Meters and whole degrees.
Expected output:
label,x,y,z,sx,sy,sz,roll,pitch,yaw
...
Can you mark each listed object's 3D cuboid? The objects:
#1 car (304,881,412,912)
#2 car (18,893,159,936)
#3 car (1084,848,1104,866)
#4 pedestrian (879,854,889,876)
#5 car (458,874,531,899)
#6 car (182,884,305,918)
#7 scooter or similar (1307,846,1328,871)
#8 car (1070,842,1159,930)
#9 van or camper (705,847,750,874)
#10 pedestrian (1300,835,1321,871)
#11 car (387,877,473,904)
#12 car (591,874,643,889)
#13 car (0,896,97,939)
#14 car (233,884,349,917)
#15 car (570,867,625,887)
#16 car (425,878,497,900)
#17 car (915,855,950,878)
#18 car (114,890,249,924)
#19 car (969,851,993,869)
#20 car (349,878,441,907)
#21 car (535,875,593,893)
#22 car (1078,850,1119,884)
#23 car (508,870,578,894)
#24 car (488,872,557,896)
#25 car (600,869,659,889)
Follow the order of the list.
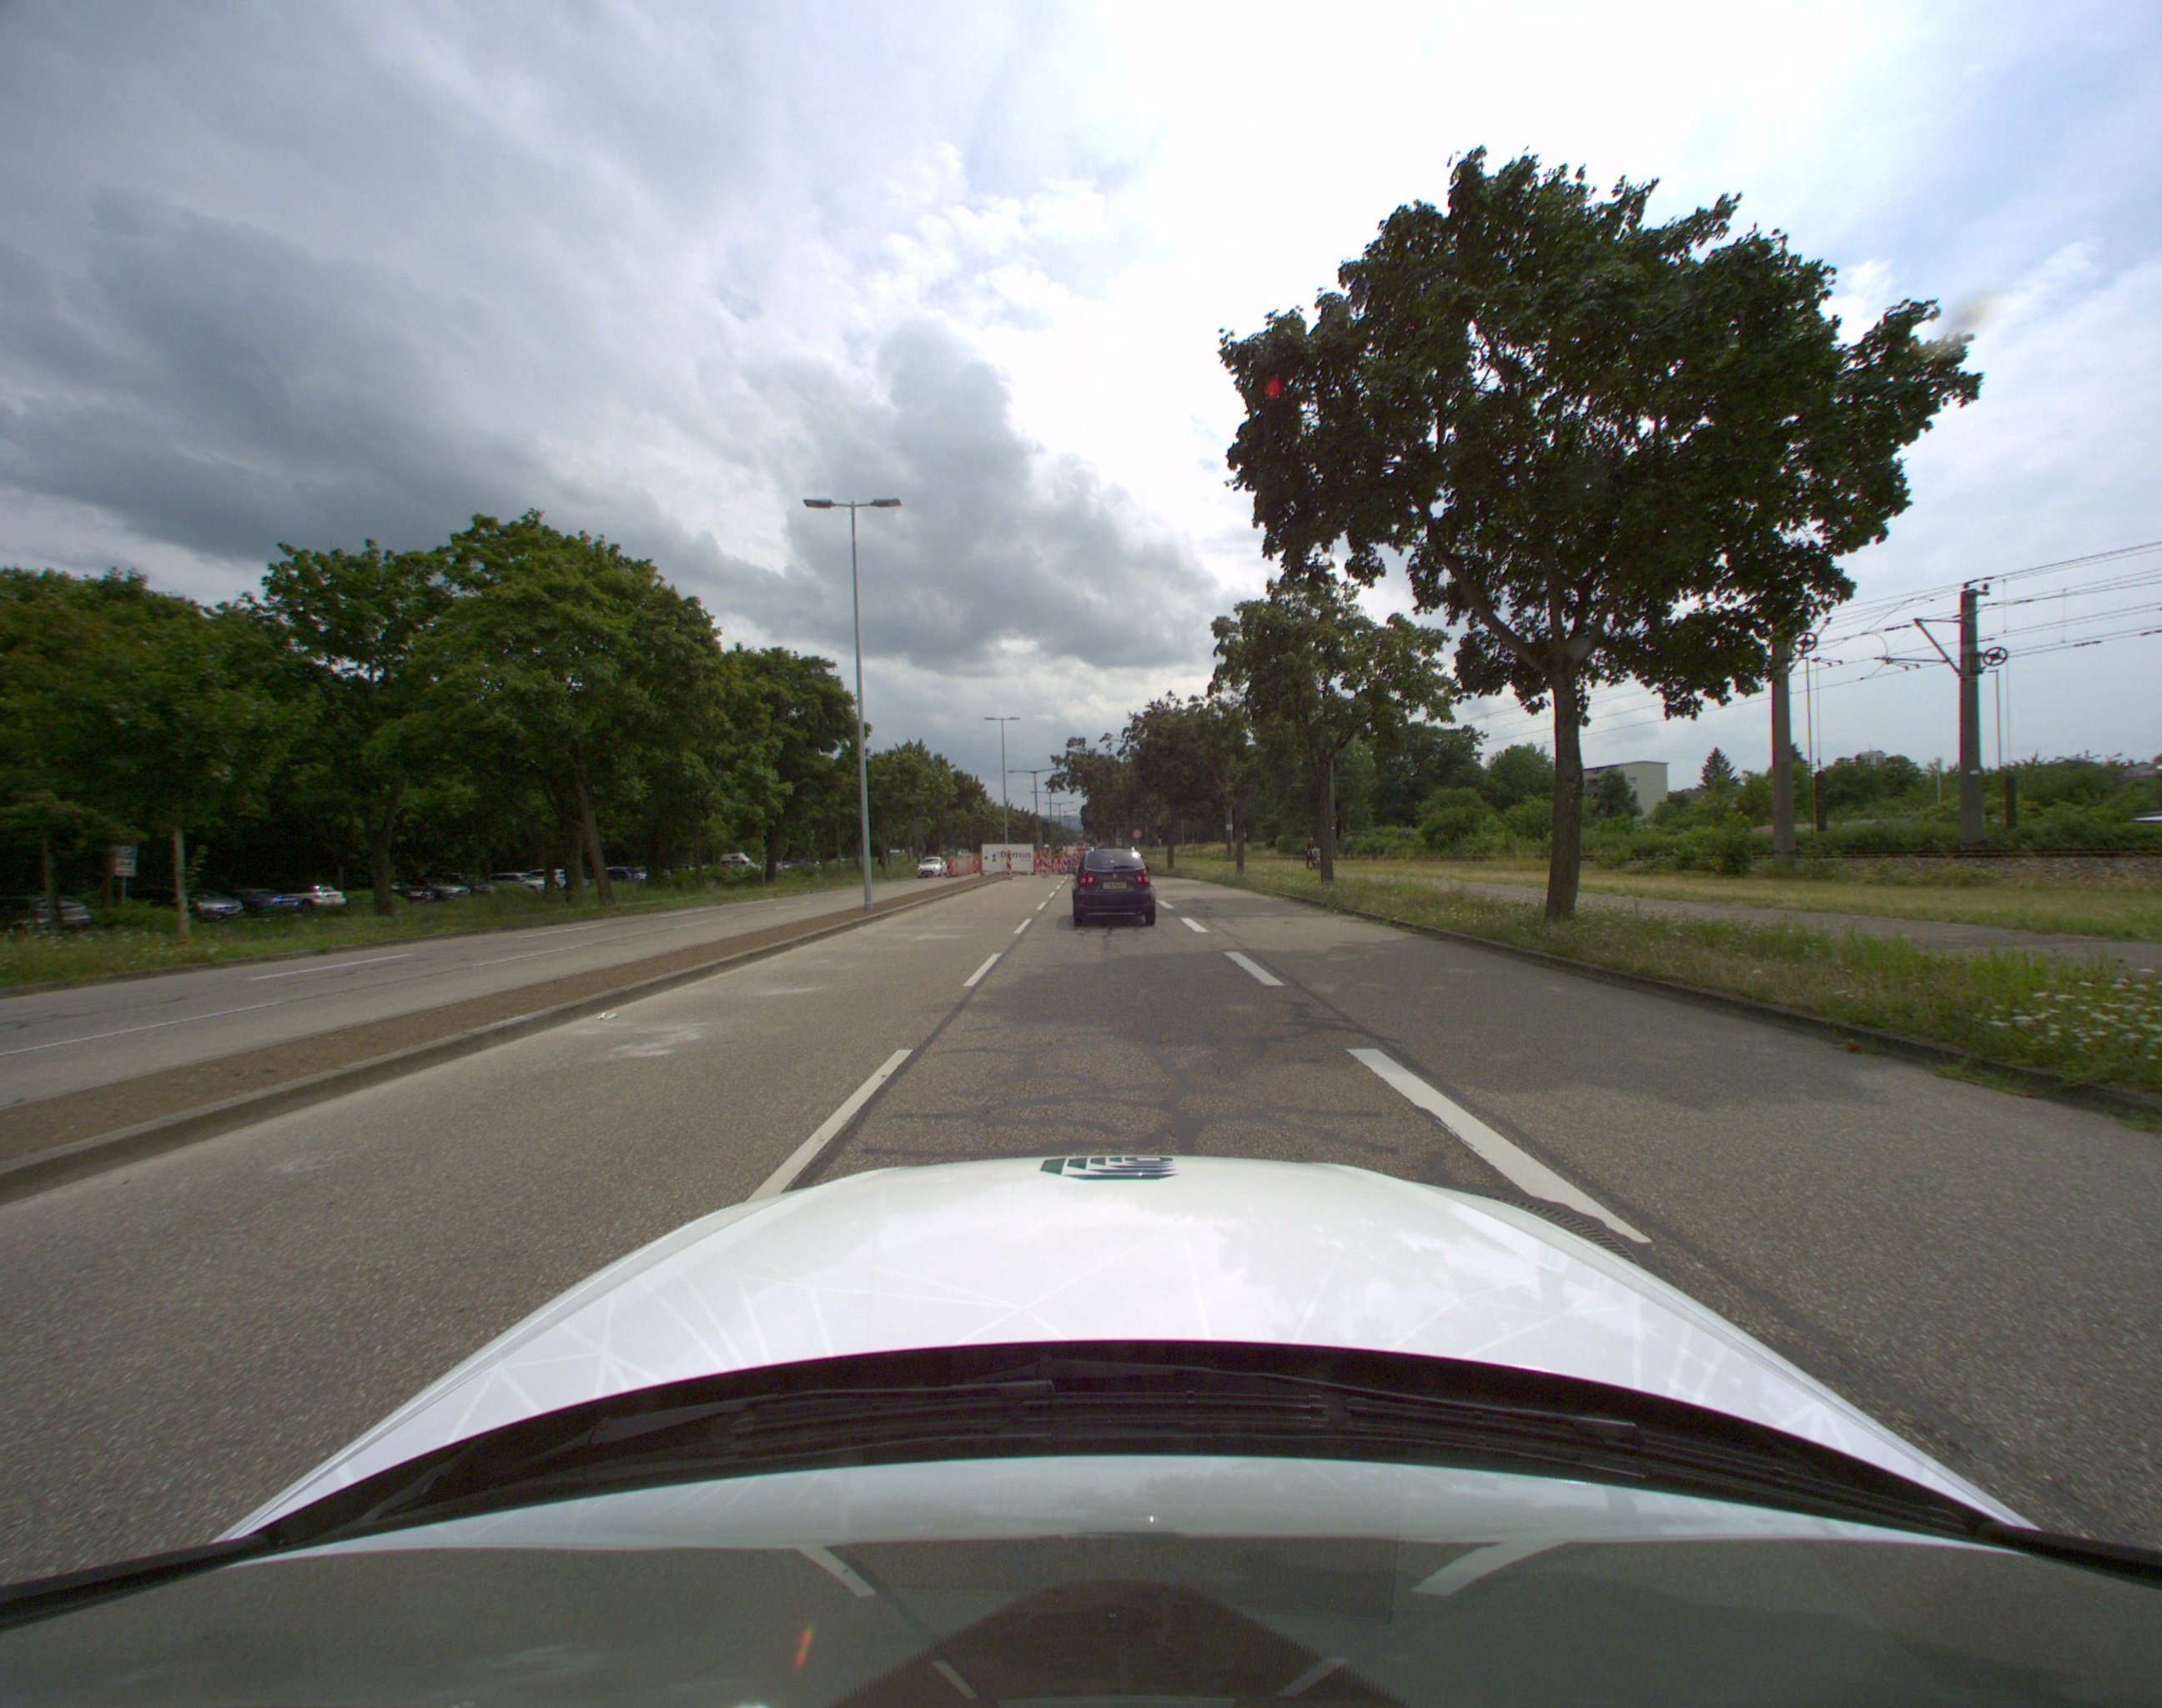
label,x,y,z,sx,sy,sz,roll,pitch,yaw
car,-37.837,2.221,42.655,3.967,1.410,2.004,-2,1,6
car,-38.164,2.316,31.360,3.634,1.411,1.519,-2,1,3
car,1.270,0.289,78.813,1.786,1.562,4.003,-2,1,2
pedestrian,-17.063,0.973,70.548,0.693,1.838,0.647,-2,1,-21
car,-37.815,2.098,52.569,3.634,1.411,1.519,-2,1,3
car,-38.457,2.151,37.445,3.970,1.360,1.669,-2,1,3
scooter or similar,11.230,0.217,38.727,0.680,1.129,0.933,-2,1,-4
car,0.653,0.596,17.836,1.698,1.668,4.000,-1,1,0
van or camper,-39.135,0.719,90.173,3.973,2.756,1.927,-2,1,1
pedestrian,11.168,-0.065,39.660,0.689,1.695,0.933,-2,1,-4
car,-37.941,2.102,47.506,3.630,1.360,1.710,-2,1,3
car,-37.414,2.198,65.664,3.353,1.094,1.442,-2,1,2
car,-38.550,2.320,29.482,3.694,1.348,1.786,-2,1,3
car,-38.750,2.275,39.989,3.970,1.360,1.824,-2,1,3
car,-37.695,1.781,63.526,3.535,1.411,1.323,-2,1,3
car,-37.879,2.140,49.802,3.280,1.206,1.519,-2,1,3
car,-10.846,0.914,59.685,1.684,1.477,4.001,-3,1,1
car,-38.014,2.228,34.458,3.969,1.238,1.669,-2,1,4
car,-9.392,0.557,76.610,1.698,1.477,4.001,-3,1,1
car,-37.935,2.122,45.082,3.630,1.360,1.710,-2,1,3
car,-38.157,2.201,60.155,3.353,1.112,1.442,-2,1,2
car,0.831,0.600,40.278,1.762,1.464,3.997,-2,1,-2
car,-38.098,1.983,57.726,3.634,1.519,1.884,-2,1,3
car,-37.637,1.996,54.934,3.634,1.411,1.519,-2,1,3
car,-37.648,2.070,67.954,3.716,1.409,2.001,-2,1,1
